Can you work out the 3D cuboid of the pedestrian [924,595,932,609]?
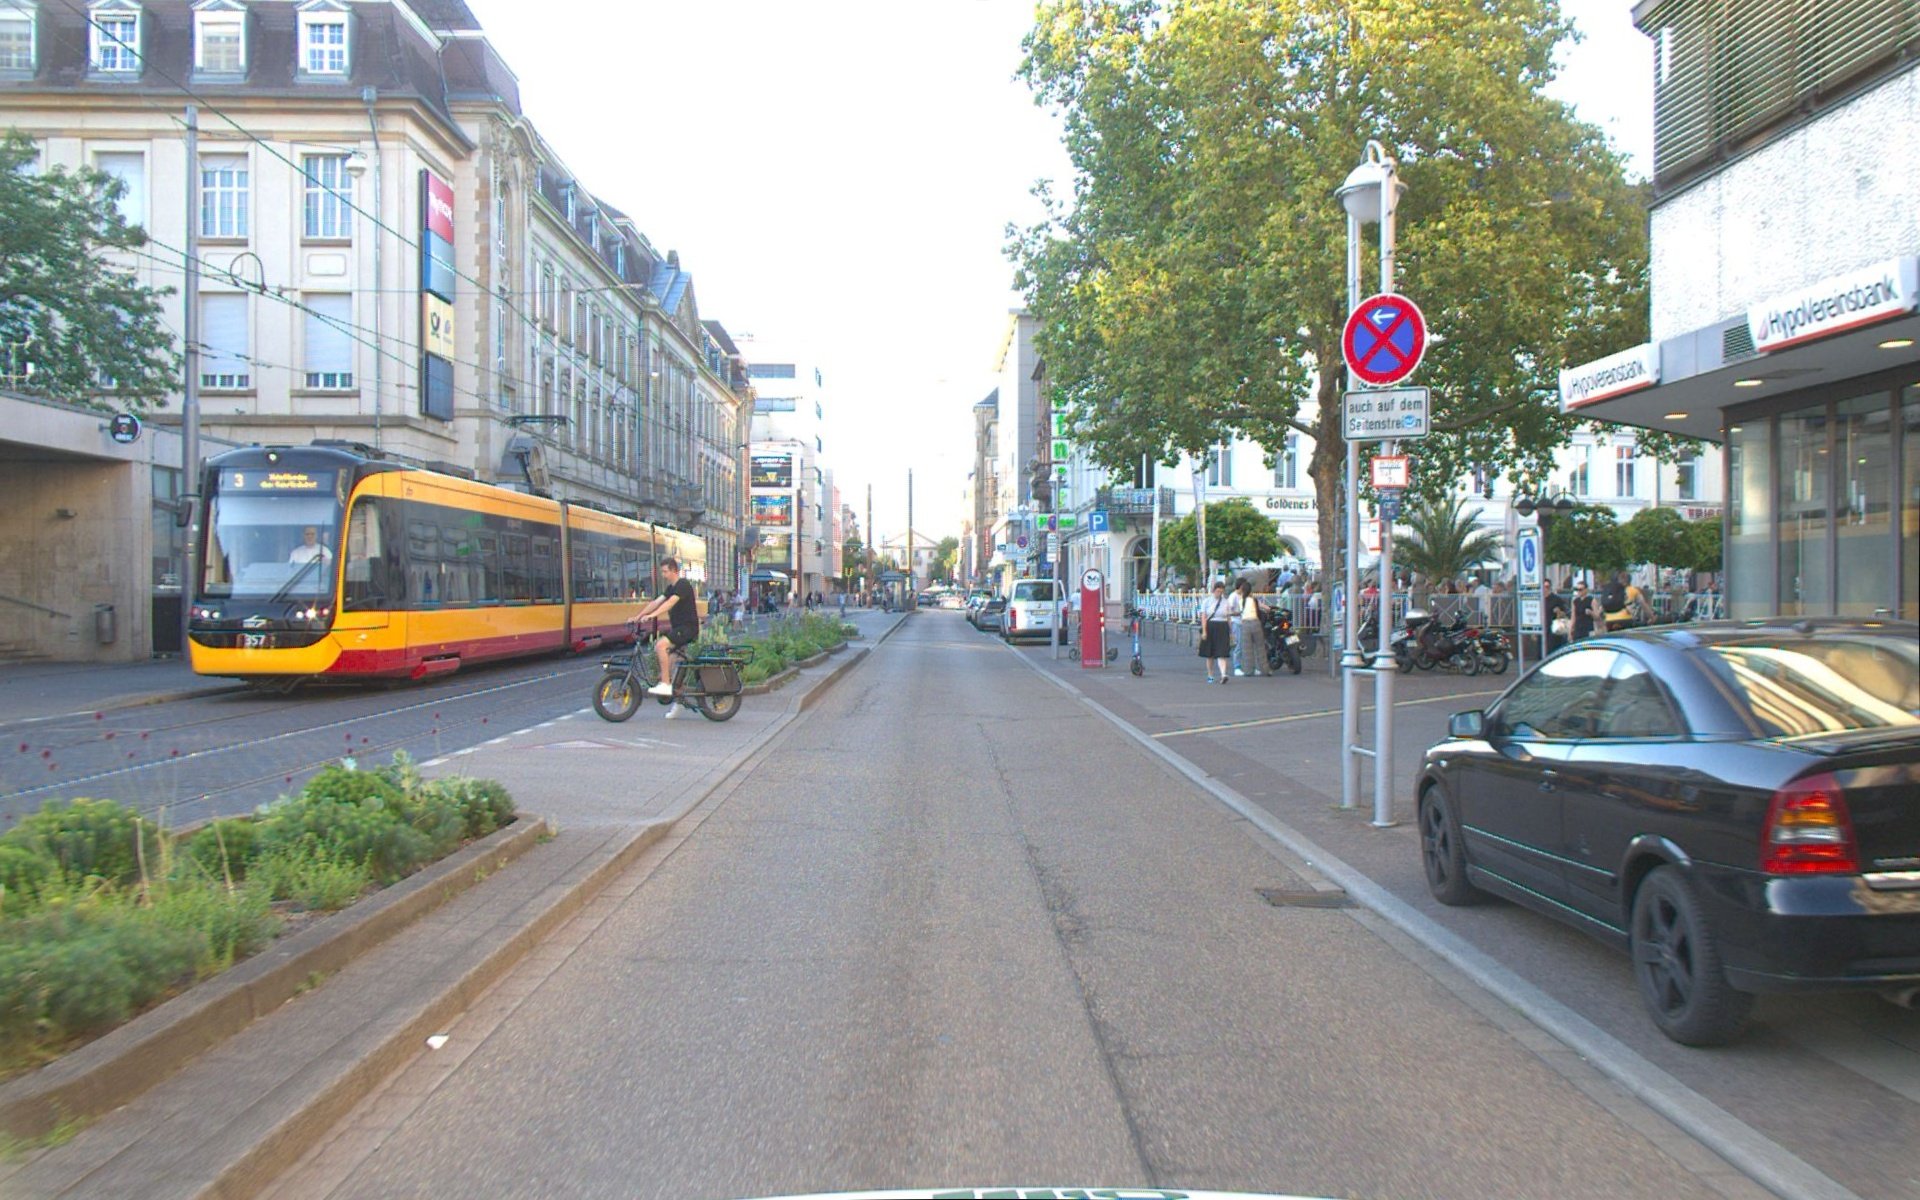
[{"bbox_3d":[-4.319,0.291,221.559,0.768,1.765,0.809,-2,-2,39],"label":"pedestrian"}]

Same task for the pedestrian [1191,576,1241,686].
[{"bbox_3d":[4.401,0.536,28.480,0.699,1.835,0.824,-2,-1,2],"label":"pedestrian"}]

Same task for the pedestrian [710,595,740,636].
[{"bbox_3d":[-8.934,0.600,62.789,0.746,1.540,0.858,-2,-3,42],"label":"pedestrian"}]

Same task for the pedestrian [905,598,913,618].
[{"bbox_3d":[-4.055,0.634,131.748,0.601,1.550,0.619,0,-2,-10],"label":"pedestrian"}]

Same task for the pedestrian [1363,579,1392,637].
[{"bbox_3d":[9.528,0.191,37.747,0.630,1.307,0.741,-1,-2,15],"label":"pedestrian"}]

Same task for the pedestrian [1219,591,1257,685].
[{"bbox_3d":[5.182,0.711,30.847,0.601,1.747,0.662,0,-2,1],"label":"pedestrian"}]

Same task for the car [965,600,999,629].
[{"bbox_3d":[1.342,0.912,102.717,1.953,1.696,4.419,0,-2,-1],"label":"car"}]

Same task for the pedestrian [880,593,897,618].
[{"bbox_3d":[-4.965,0.411,115.260,1.026,1.715,0.909,-1,-2,10],"label":"pedestrian"}]

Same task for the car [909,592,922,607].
[{"bbox_3d":[-5.939,-0.028,222.922,1.725,1.859,3.569,0,-2,-1],"label":"car"}]

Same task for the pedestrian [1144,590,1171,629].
[{"bbox_3d":[6.701,0.330,56.177,0.806,1.329,0.869,0,-2,-2],"label":"pedestrian"}]

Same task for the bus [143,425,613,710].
[{"bbox_3d":[-9.408,-0.442,30.192,2.765,3.715,17.069,0,0,-1],"label":"bus"}]

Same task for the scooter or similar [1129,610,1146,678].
[{"bbox_3d":[3.338,0.810,31.088,0.308,1.243,1.273,0,0,6],"label":"scooter or similar"}]

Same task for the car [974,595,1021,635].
[{"bbox_3d":[1.704,0.688,76.658,1.953,1.791,4.420,0,-1,-1],"label":"car"}]

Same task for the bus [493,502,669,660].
[{"bbox_3d":[-9.606,-0.434,42.890,2.765,3.688,8.287,0,0,-1],"label":"bus"}]

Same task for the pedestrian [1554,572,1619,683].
[{"bbox_3d":[10.087,0.453,26.636,0.816,1.754,0.649,1,-2,-39],"label":"pedestrian"}]

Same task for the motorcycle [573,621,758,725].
[{"bbox_3d":[-3.356,0.815,18.917,2.020,1.143,0.563,1,-2,-28],"label":"motorcycle"}]

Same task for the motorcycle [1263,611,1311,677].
[{"bbox_3d":[6.028,0.813,30.584,0.446,1.178,2.030,0,-2,-1],"label":"motorcycle"}]

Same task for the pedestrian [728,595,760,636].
[{"bbox_3d":[-8.138,0.588,62.323,0.706,1.540,1.031,-2,-3,42],"label":"pedestrian"}]

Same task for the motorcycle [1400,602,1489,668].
[{"bbox_3d":[9.284,0.651,31.745,0.544,1.171,1.782,1,1,-27],"label":"motorcycle"}]

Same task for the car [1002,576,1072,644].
[{"bbox_3d":[2.368,0.321,51.777,1.876,2.016,4.420,0,0,-1],"label":"car"}]

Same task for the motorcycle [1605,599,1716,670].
[{"bbox_3d":[13.311,0.633,31.471,0.557,1.304,1.931,1,0,-38],"label":"motorcycle"}]

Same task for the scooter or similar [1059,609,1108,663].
[{"bbox_3d":[2.898,0.834,38.776,1.102,1.237,0.300,-1,-1,0],"label":"scooter or similar"}]

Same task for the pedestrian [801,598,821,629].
[{"bbox_3d":[-8.231,0.743,91.500,1.030,1.715,0.906,0,-2,-11],"label":"pedestrian"}]

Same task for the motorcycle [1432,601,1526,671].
[{"bbox_3d":[10.029,0.673,32.022,0.554,1.304,1.940,1,0,-27],"label":"motorcycle"}]

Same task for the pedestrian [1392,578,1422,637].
[{"bbox_3d":[10.144,0.177,37.516,0.630,1.307,0.741,-1,-2,15],"label":"pedestrian"}]

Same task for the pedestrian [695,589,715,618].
[{"bbox_3d":[-15.514,0.223,100.573,1.033,1.715,0.903,0,0,-20],"label":"pedestrian"}]

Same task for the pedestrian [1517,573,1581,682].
[{"bbox_3d":[9.706,0.460,27.237,0.816,1.772,0.649,1,-2,-39],"label":"pedestrian"}]

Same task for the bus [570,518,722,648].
[{"bbox_3d":[-9.765,-0.383,52.884,2.765,3.676,11.819,0,-1,-1],"label":"bus"}]

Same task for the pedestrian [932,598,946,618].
[{"bbox_3d":[-2.149,0.819,166.698,1.210,1.962,1.017,0,0,-17],"label":"pedestrian"}]

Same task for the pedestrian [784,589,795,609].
[{"bbox_3d":[-16.604,-0.104,161.238,0.891,1.962,0.847,0,0,-17],"label":"pedestrian"}]

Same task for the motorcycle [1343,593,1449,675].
[{"bbox_3d":[8.280,0.619,31.522,0.557,1.448,2.277,1,1,-27],"label":"motorcycle"}]

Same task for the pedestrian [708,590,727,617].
[{"bbox_3d":[-15.032,0.211,102.568,1.033,1.715,0.903,0,0,-20],"label":"pedestrian"}]

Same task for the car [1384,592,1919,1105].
[{"bbox_3d":[3.240,0.722,7.029,1.622,1.404,4.340,-4,0,-1],"label":"car"}]
